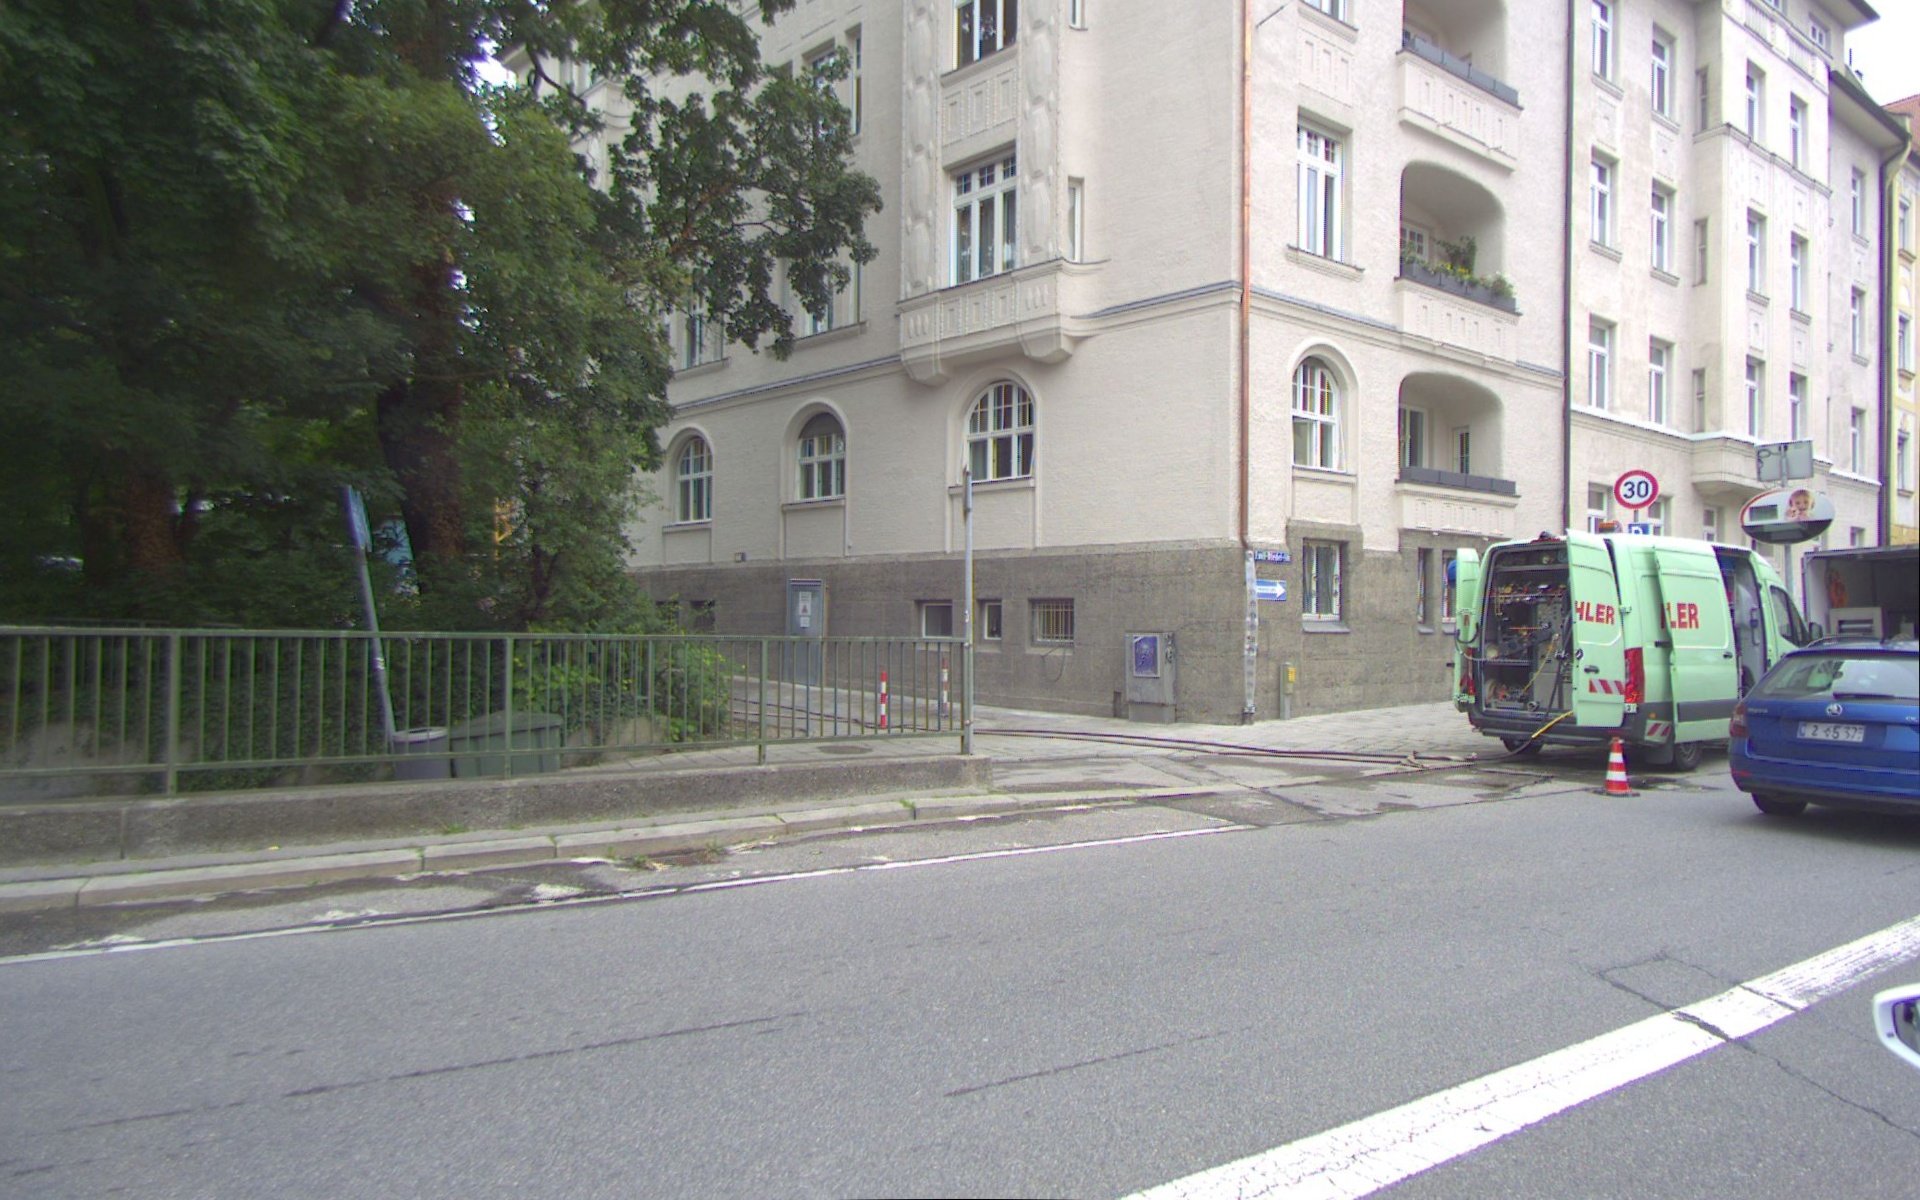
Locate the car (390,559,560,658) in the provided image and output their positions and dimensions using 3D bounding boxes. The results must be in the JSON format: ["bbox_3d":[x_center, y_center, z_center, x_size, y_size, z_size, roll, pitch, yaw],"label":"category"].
[{"bbox_3d":[-16.956,0.358,35.335,2.442,3.216,4.793,0,-2,33],"label":"car"}]

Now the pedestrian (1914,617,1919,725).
[{"bbox_3d":[15.171,1.096,15.366,0.752,1.652,0.634,-1,-2,38],"label":"pedestrian"}]

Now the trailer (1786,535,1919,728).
[{"bbox_3d":[18.079,0.538,17.845,7.511,3.007,2.791,0,-4,-31],"label":"trailer"}]

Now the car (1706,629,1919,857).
[{"bbox_3d":[7.921,0.993,7.998,4.267,1.479,1.779,1,-2,-32],"label":"car"}]

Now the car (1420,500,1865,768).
[{"bbox_3d":[8.682,0.397,12.478,6.720,2.606,2.129,1,-1,-33],"label":"car"}]
